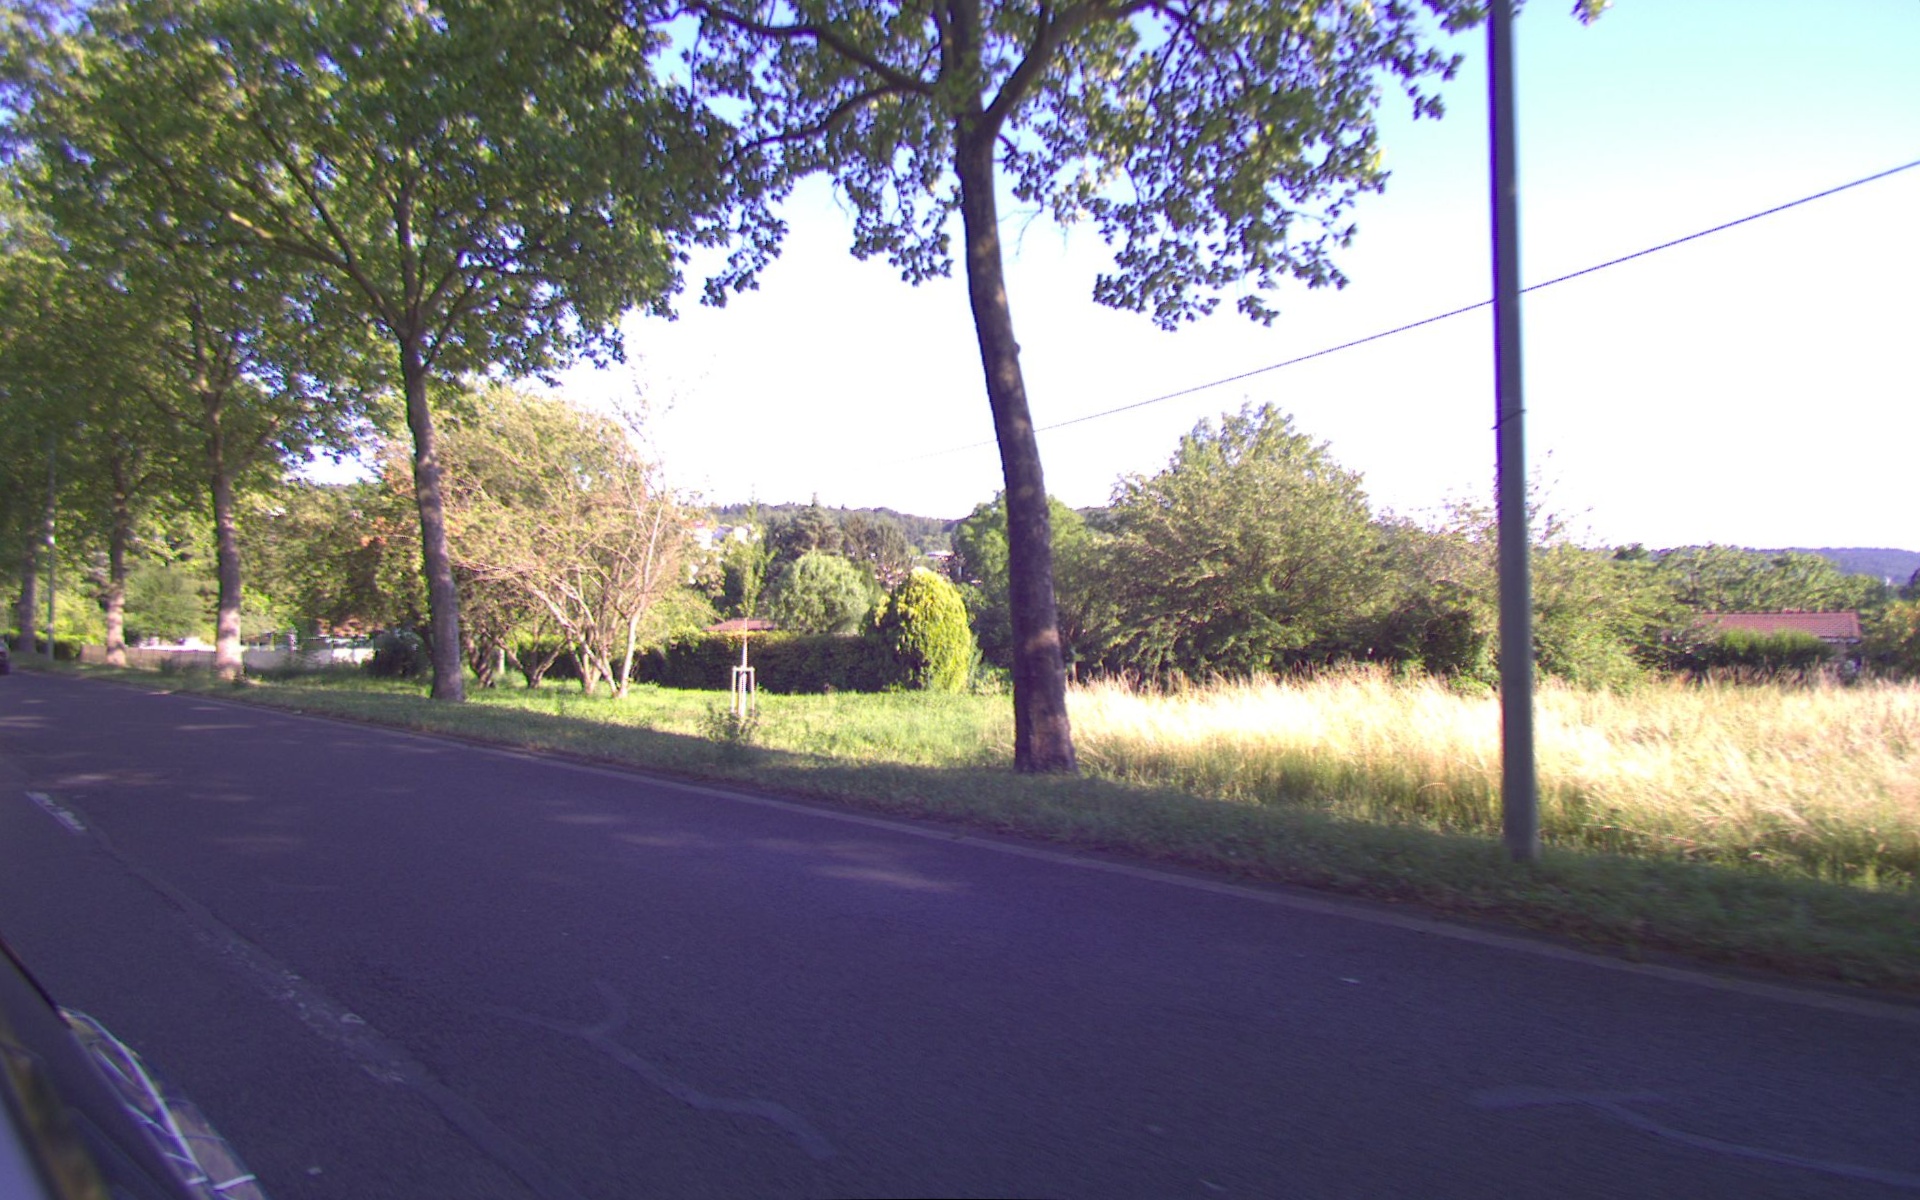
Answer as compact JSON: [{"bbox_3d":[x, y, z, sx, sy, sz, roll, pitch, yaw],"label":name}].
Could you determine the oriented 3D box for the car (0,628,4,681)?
[{"bbox_3d":[-29.437,1.594,29.639,3.997,1.516,1.698,-1,0,41],"label":"car"}]
